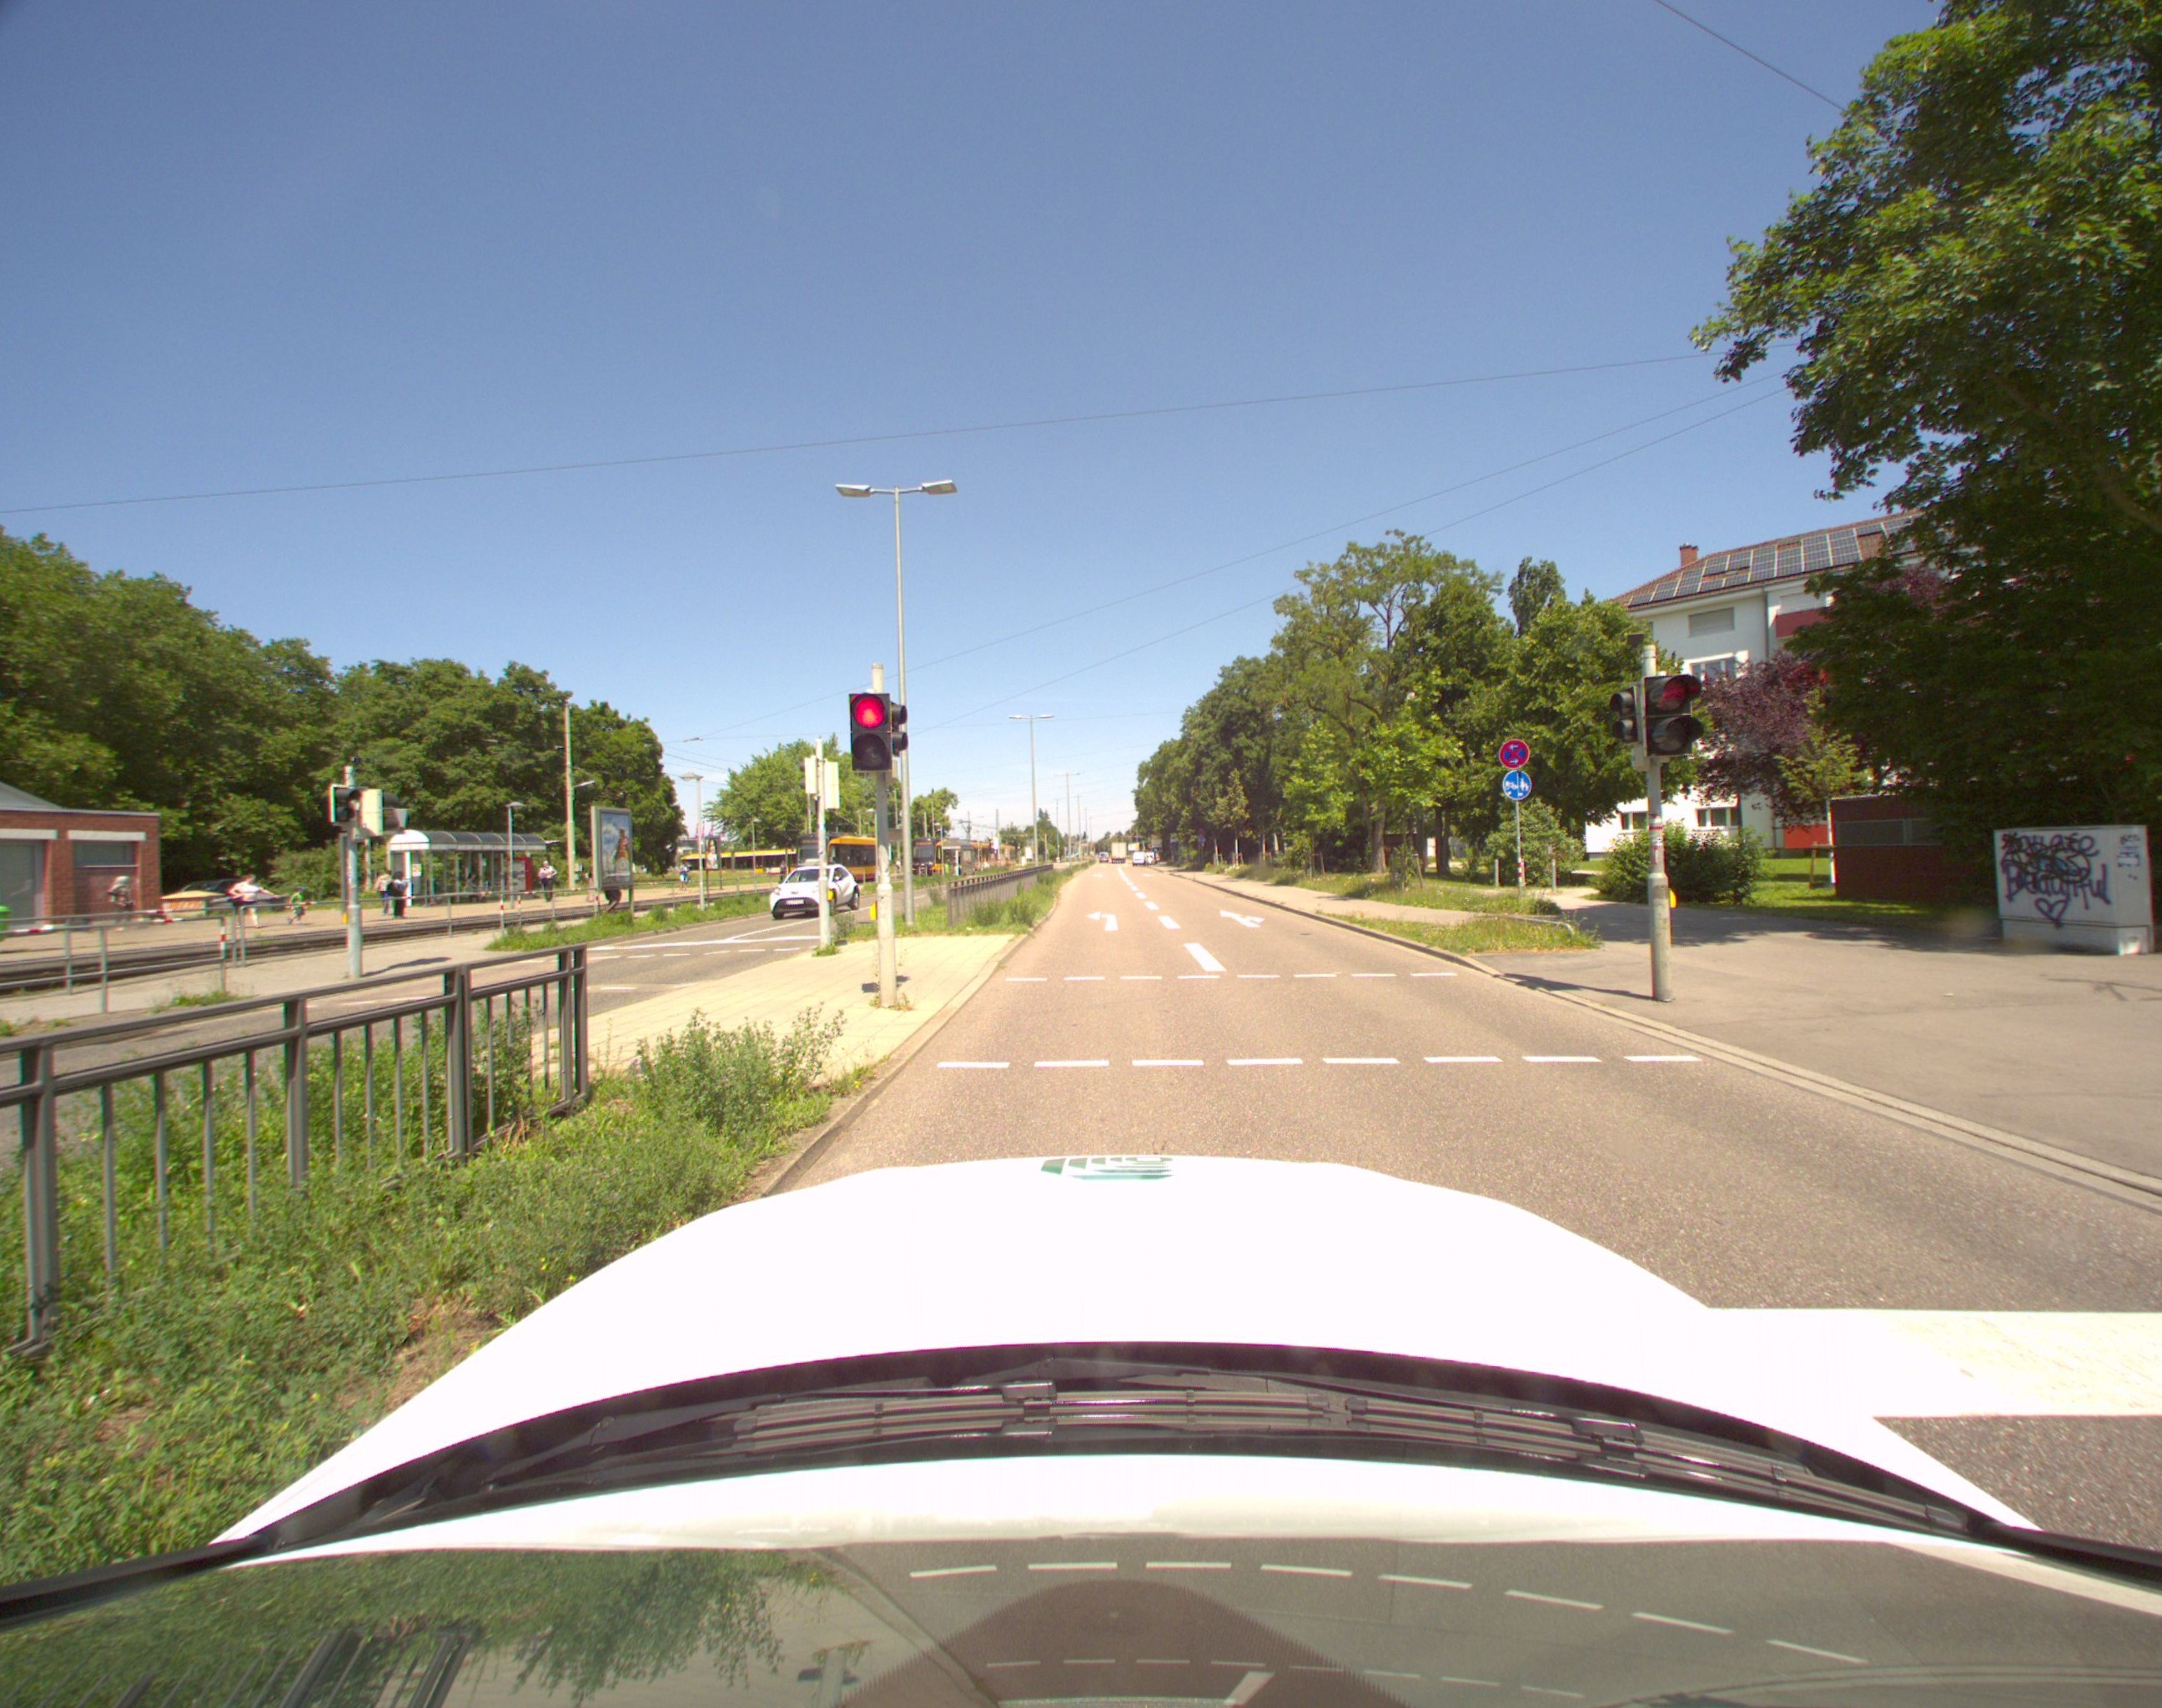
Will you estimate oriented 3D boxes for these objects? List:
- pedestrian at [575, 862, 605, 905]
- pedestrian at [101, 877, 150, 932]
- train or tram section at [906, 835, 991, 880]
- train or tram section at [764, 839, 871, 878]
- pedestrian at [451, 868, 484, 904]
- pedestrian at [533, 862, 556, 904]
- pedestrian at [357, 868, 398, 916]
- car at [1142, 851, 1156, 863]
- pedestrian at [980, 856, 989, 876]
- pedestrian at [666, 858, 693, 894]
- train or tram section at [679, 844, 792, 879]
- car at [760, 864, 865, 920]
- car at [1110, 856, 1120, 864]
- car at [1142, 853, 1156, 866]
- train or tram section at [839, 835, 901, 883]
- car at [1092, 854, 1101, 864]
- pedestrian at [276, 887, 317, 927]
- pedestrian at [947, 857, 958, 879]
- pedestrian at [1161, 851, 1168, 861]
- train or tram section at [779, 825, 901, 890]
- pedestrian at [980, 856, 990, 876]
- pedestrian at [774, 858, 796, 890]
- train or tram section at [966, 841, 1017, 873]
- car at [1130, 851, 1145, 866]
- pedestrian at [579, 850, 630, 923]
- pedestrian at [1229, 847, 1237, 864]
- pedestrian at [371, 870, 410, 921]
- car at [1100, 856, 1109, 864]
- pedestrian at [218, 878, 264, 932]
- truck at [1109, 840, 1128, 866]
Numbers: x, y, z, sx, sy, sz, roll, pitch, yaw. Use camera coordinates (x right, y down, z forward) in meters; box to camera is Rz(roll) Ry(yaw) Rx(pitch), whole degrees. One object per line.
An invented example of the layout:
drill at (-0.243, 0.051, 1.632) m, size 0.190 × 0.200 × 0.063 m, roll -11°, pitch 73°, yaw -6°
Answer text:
pedestrian at (-21.220, 1.253, 35.187) m, size 0.715 × 1.777 × 0.843 m, roll 3°, pitch 2°, yaw 1°
pedestrian at (-26.354, 1.382, 22.463) m, size 0.636 × 1.480 × 0.570 m, roll -2°, pitch 0°, yaw 1°
train or tram section at (-12.879, 0.315, 83.725) m, size 2.947 × 3.749 × 30.041 m, roll -2°, pitch 0°, yaw 2°
train or tram section at (-29.957, 0.646, 91.561) m, size 18.268 × 3.931 × 3.245 m, roll -2°, pitch 0°, yaw 44°
pedestrian at (-26.288, 1.374, 34.899) m, size 0.836 × 1.511 × 0.723 m, roll -2°, pitch 0°, yaw 12°
pedestrian at (-23.722, 1.286, 36.014) m, size 0.725 × 1.800 × 0.835 m, roll -1°, pitch -1°, yaw -41°
pedestrian at (-24.075, 1.285, 27.873) m, size 0.669 × 1.590 × 0.808 m, roll -2°, pitch 0°, yaw 1°
car at (9.906, 0.467, 118.764) m, size 1.773 × 1.668 × 4.002 m, roll -2°, pitch 0°, yaw 2°
pedestrian at (-10.134, 1.256, 85.368) m, size 0.812 × 2.013 × 0.939 m, roll -2°, pitch 0°, yaw 1°
pedestrian at (-22.876, 1.260, 46.379) m, size 0.977 × 2.013 × 1.021 m, roll -2°, pitch 0°, yaw 1°
train or tram section at (-43.816, 0.998, 102.652) m, size 18.260 × 3.931 × 3.247 m, roll -2°, pitch 0°, yaw 33°
car at (-8.117, 1.090, 25.003) m, size 1.838 × 1.494 × 3.793 m, roll -2°, pitch 0°, yaw 2°
car at (6.486, 1.152, 153.690) m, size 1.804 × 1.464 × 4.002 m, roll -2°, pitch 0°, yaw 2°
car at (9.384, 0.724, 112.423) m, size 1.773 × 1.668 × 4.002 m, roll -2°, pitch 0°, yaw 2°
train or tram section at (-20.275, 0.509, 77.107) m, size 3.229 × 3.931 × 18.363 m, roll -2°, pitch 0°, yaw -22°
car at (3.326, 1.105, 175.334) m, size 1.986 × 2.013 × 4.002 m, roll -2°, pitch 0°, yaw 2°
pedestrian at (-22.978, 1.552, 23.855) m, size 0.636 × 1.124 × 0.570 m, roll -2°, pitch 0°, yaw 1°
pedestrian at (-10.983, 1.204, 69.732) m, size 0.783 × 1.868 × 0.818 m, roll -2°, pitch 0°, yaw 1°
pedestrian at (16.735, 0.362, 163.100) m, size 1.180 × 2.013 × 1.214 m, roll -2°, pitch 0°, yaw 1°
train or tram section at (-17.002, 0.242, 59.816) m, size 3.205 × 3.931 × 18.500 m, roll -2°, pitch 0°, yaw 1°
pedestrian at (-9.913, 1.244, 84.069) m, size 0.812 × 2.013 × 0.939 m, roll -2°, pitch 0°, yaw 1°
pedestrian at (-19.445, 1.295, 53.576) m, size 0.977 × 2.013 × 1.021 m, roll -2°, pitch 0°, yaw 1°
train or tram section at (-12.144, 0.334, 115.286) m, size 2.921 × 3.789 × 33.091 m, roll -2°, pitch 0°, yaw 1°
car at (7.295, 0.568, 105.541) m, size 1.773 × 1.903 × 4.002 m, roll -2°, pitch 0°, yaw 2°
pedestrian at (-12.196, 0.824, 20.864) m, size 0.715 × 1.777 × 0.843 m, roll 3°, pitch 2°, yaw 1°
pedestrian at (12.717, 0.128, 68.035) m, size 0.600 × 1.438 × 0.557 m, roll -2°, pitch 0°, yaw 8°
pedestrian at (-21.649, 1.288, 25.548) m, size 0.635 × 1.555 × 0.691 m, roll -2°, pitch 0°, yaw -11°
car at (4.558, 1.179, 158.008) m, size 1.804 × 1.464 × 4.002 m, roll -2°, pitch 0°, yaw 2°
pedestrian at (-23.492, 1.406, 22.780) m, size 0.636 × 1.456 × 0.583 m, roll -2°, pitch 0°, yaw 1°
truck at (6.771, -0.162, 146.139) m, size 3.193 × 4.359 × 6.563 m, roll -2°, pitch 0°, yaw 2°
